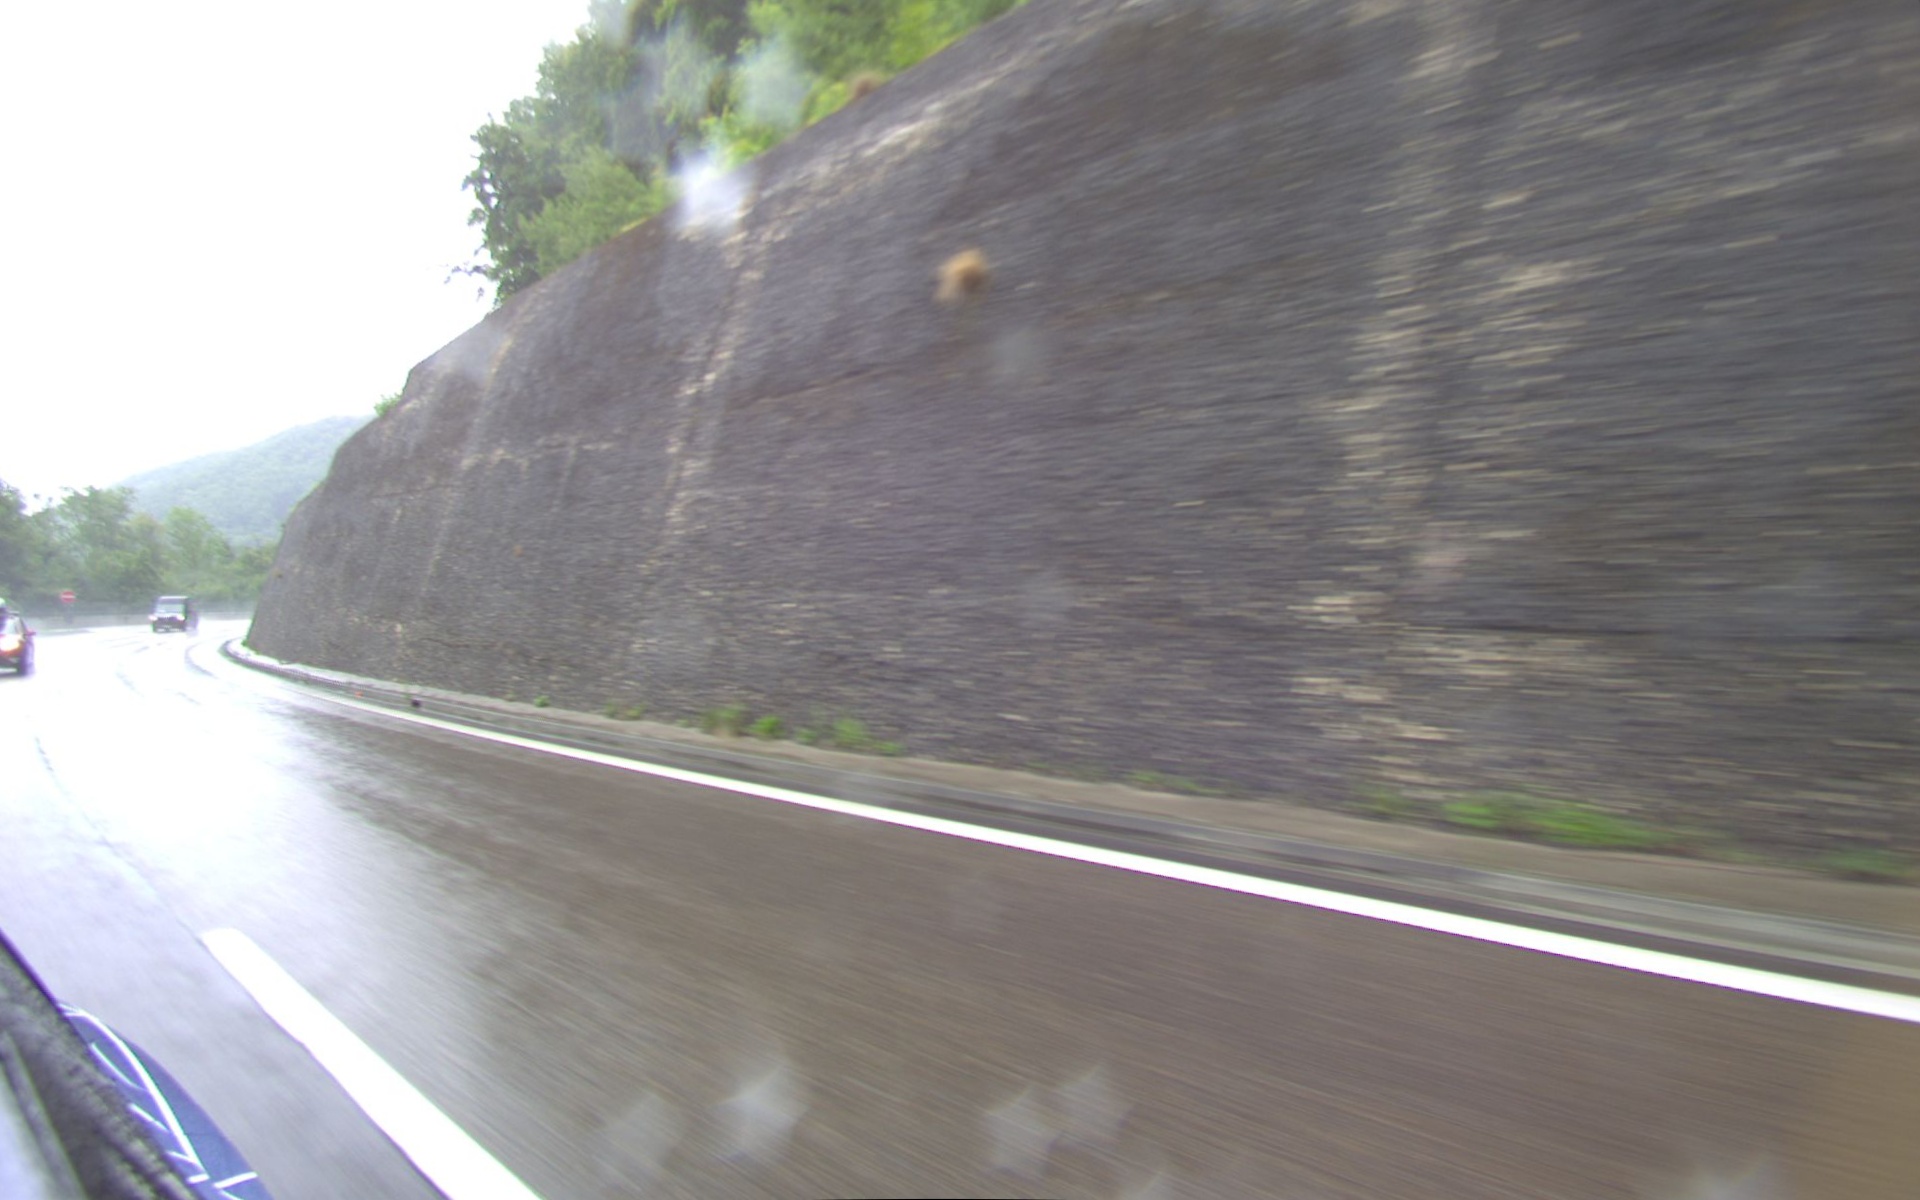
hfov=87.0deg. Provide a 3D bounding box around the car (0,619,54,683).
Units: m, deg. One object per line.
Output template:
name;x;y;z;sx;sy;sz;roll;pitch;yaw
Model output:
car;-25.752;1.307;26.754;2.323;1.570;5.509;1;-1;-38

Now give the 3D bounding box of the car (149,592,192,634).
car;-58.722;0.963;75.343;1.713;3.048;4.013;0;0;-26
